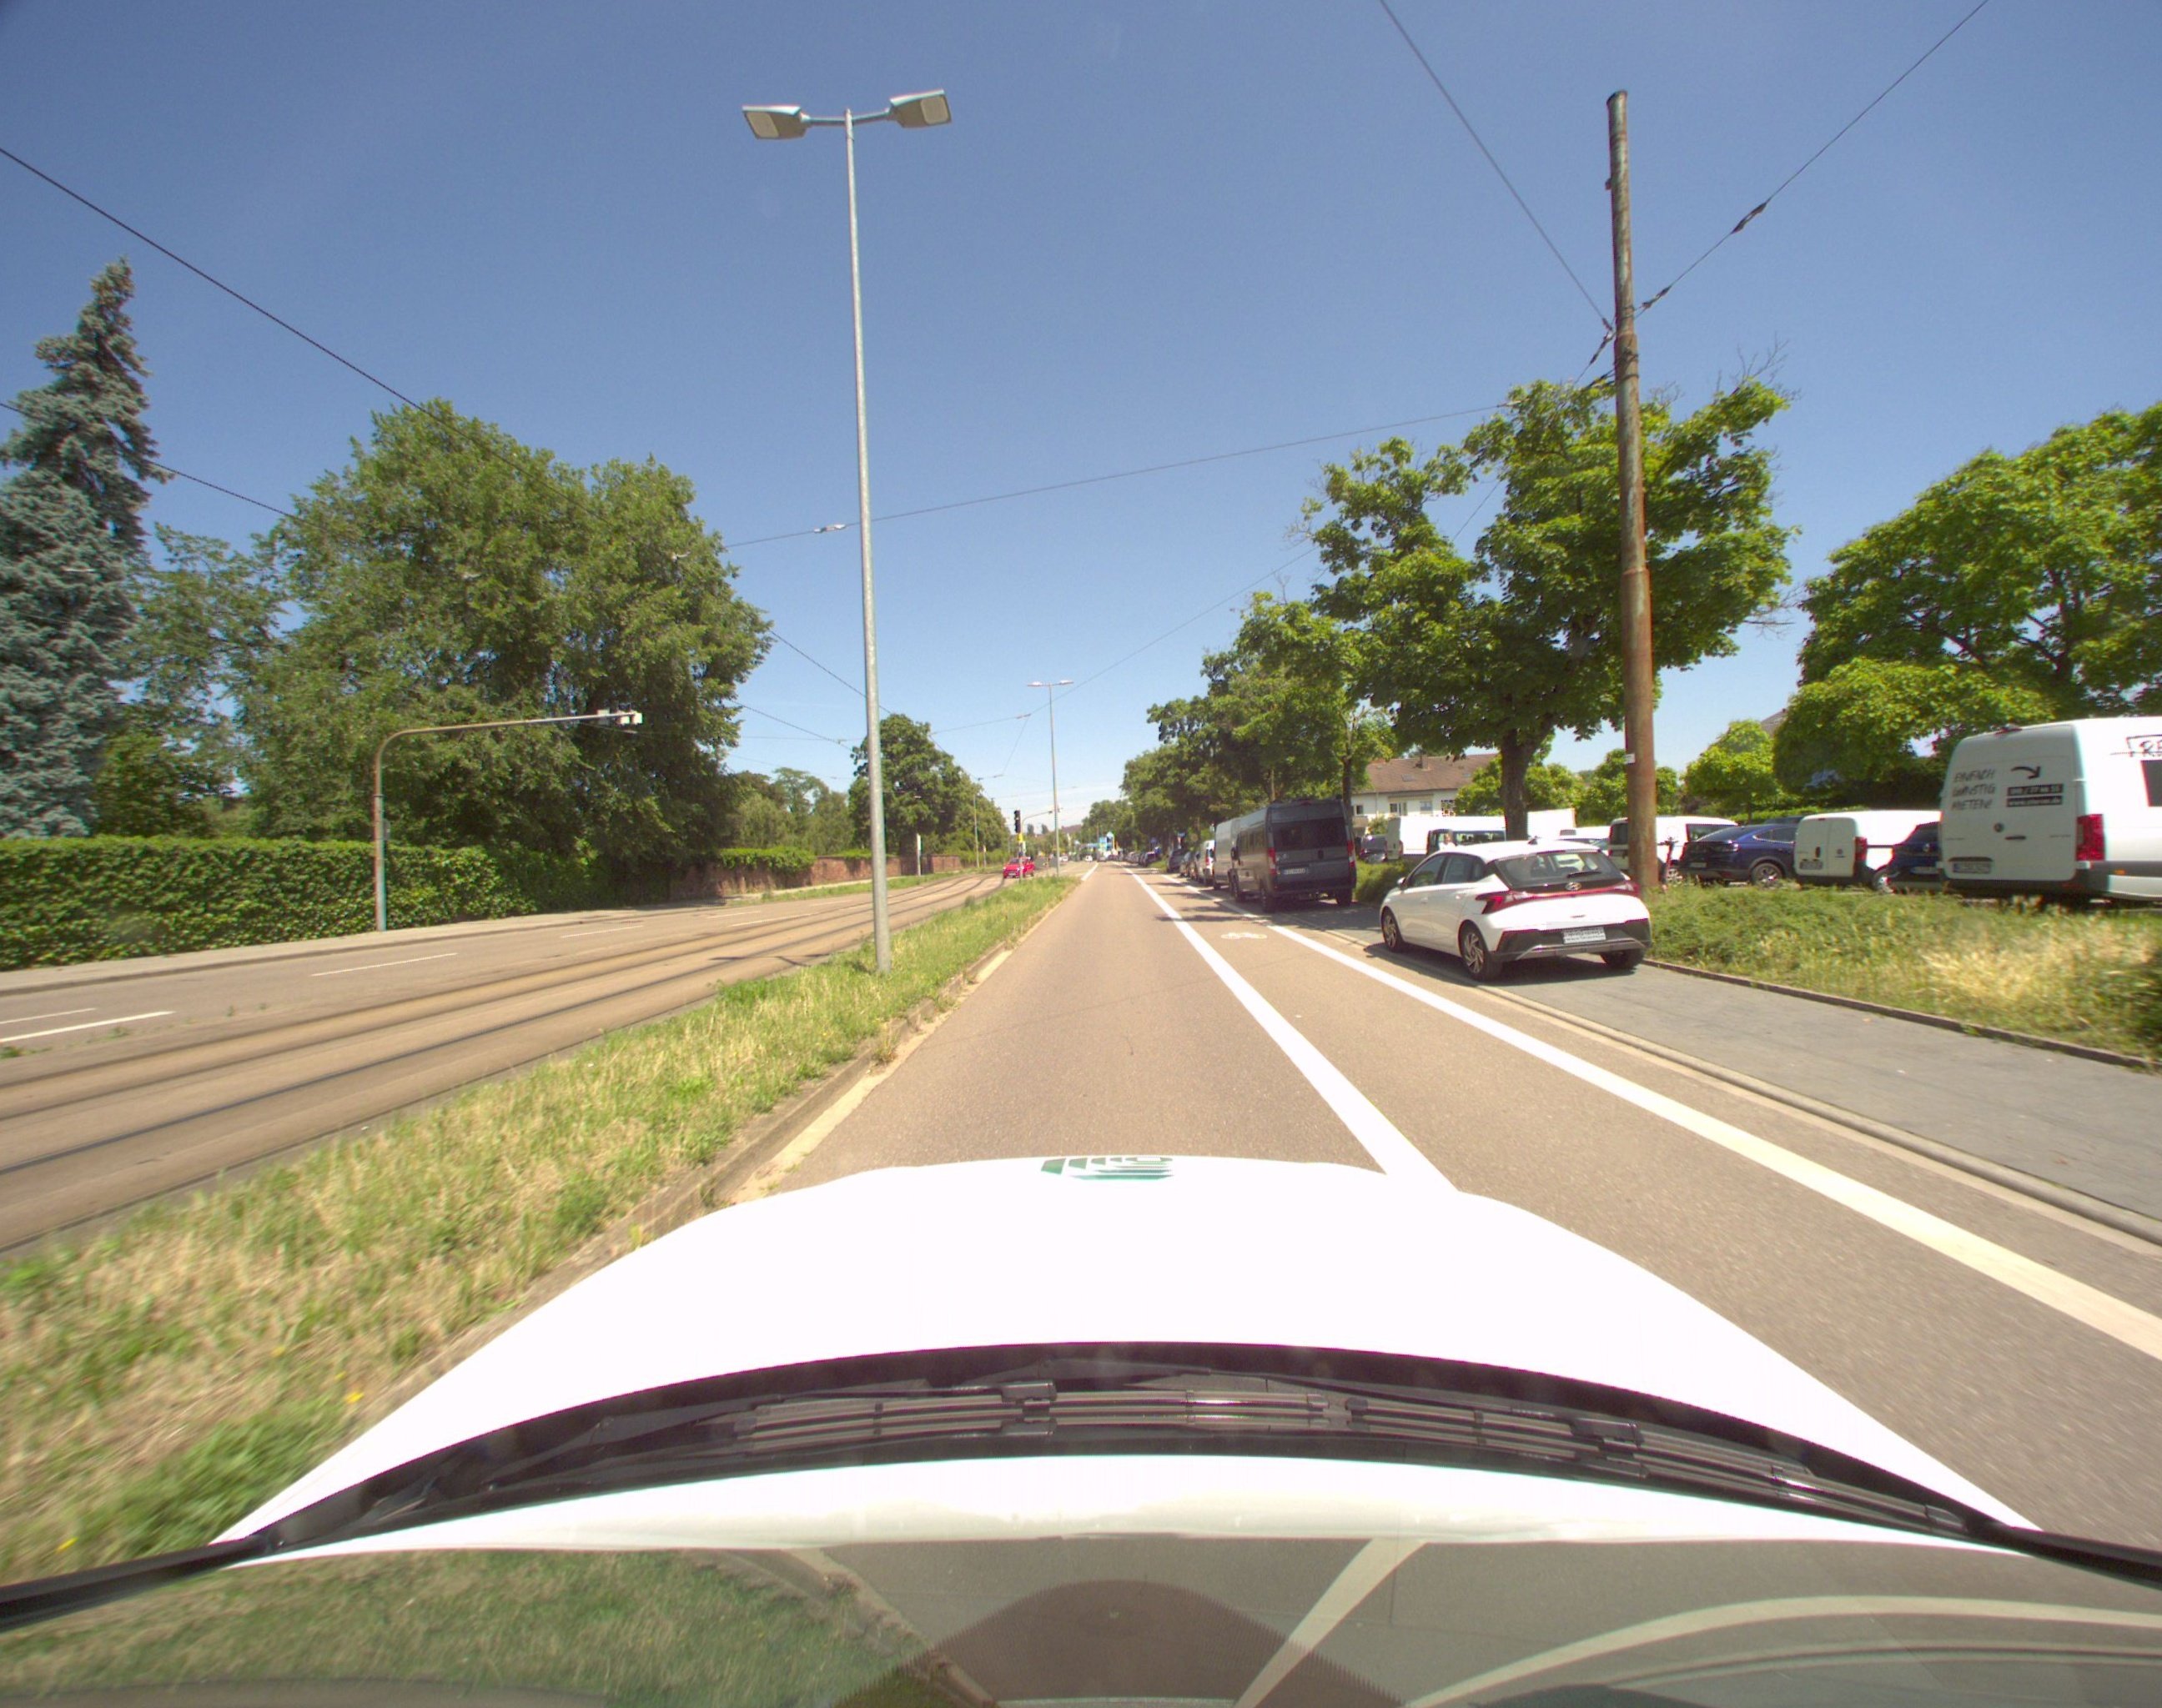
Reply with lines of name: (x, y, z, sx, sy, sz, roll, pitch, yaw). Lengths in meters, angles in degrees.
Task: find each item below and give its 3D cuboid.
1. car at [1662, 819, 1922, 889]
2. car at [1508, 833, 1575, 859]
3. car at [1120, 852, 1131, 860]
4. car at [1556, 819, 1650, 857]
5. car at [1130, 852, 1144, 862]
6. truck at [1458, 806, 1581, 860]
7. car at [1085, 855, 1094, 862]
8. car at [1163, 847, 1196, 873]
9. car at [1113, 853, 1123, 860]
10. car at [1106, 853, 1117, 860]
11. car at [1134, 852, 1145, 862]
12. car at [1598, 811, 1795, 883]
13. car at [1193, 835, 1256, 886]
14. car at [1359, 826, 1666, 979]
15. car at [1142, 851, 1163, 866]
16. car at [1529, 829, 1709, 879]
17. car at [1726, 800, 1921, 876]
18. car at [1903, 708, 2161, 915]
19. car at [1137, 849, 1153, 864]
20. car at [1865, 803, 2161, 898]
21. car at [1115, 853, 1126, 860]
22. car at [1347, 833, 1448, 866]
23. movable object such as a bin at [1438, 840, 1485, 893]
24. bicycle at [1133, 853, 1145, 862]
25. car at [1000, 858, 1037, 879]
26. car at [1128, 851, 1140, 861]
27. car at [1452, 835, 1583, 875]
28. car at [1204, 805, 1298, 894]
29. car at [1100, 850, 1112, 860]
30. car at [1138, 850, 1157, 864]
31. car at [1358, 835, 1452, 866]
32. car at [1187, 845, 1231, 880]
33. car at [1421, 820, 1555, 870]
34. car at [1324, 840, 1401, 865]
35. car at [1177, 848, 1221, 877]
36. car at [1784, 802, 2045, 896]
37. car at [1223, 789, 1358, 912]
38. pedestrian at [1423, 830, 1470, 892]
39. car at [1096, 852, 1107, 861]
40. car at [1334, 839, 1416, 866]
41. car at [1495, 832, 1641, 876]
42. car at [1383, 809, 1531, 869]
car: (16.249, -0.010, 18.777, 4.394, 1.505, 1.953, 0, 0, -2)
car: (29.763, -0.530, 52.701, 3.320, 1.428, 1.684, -4, 0, 3)
car: (9.454, 0.497, 172.079, 1.703, 1.492, 5.034, -5, 0, -2)
car: (28.886, -0.853, 45.130, 3.988, 1.807, 1.753, -4, 0, -2)
car: (9.171, 0.488, 134.047, 1.835, 1.529, 4.963, -5, 0, -1)
truck: (29.764, -1.392, 55.435, 6.923, 3.085, 2.425, -4, 0, 0)
car: (2.289, 1.063, 211.222, 1.753, 1.630, 4.315, -5, 0, -6)
car: (6.953, 0.443, 57.880, 1.706, 1.632, 4.710, -5, -1, 1)
car: (8.557, 0.576, 189.198, 1.705, 1.562, 4.314, -5, 0, -6)
car: (7.457, 0.619, 199.196, 1.754, 1.630, 4.312, -5, 0, -7)
car: (9.251, 0.467, 129.036, 1.513, 1.529, 3.818, -5, 0, 2)
car: (16.050, -0.179, 21.375, 3.770, 1.784, 1.952, 0, 0, -3)
car: (6.120, 0.259, 35.284, 1.989, 1.878, 5.281, -5, 0, 3)
car: (5.098, 0.494, 10.383, 1.715, 1.428, 4.211, -5, 0, 2)
car: (7.810, 0.495, 89.520, 1.835, 1.436, 4.823, -5, 0, 0)
car: (15.933, -0.007, 24.251, 4.264, 1.406, 1.727, 0, 0, -1)
car: (28.834, -0.608, 31.760, 5.469, 2.459, 2.096, -4, 0, 2)
car: (15.459, -0.538, 10.924, 6.312, 2.529, 2.266, 0, 0, 4)
car: (8.390, 0.314, 107.122, 1.833, 1.706, 4.630, -5, 0, 3)
car: (15.865, -0.061, 13.637, 3.875, 1.472, 1.727, 0, 0, -1)
car: (8.907, 0.540, 183.273, 1.706, 1.562, 4.312, -5, 0, -8)
car: (16.756, -0.234, 43.278, 4.674, 1.644, 1.955, 0, 0, 2)
movable object such as a bin: (9.982, 0.318, 21.415, 0.789, 1.352, 0.889, -2, 0, 1)
bicycle: (9.039, 0.536, 127.000, 1.765, 1.228, 0.685, -7, -1, 5)
car: (-4.597, 1.053, 60.908, 1.696, 1.414, 4.293, -2, 0, 10)
car: (9.742, 0.360, 149.024, 1.835, 1.794, 4.353, -5, 0, 0)
car: (15.768, 0.032, 29.507, 3.877, 1.406, 1.726, 0, 0, -3)
car: (5.789, -0.149, 28.587, 1.990, 2.636, 6.145, -5, 0, 1)
car: (6.365, 0.337, 209.338, 2.000, 2.456, 6.091, -5, 0, -8)
car: (8.310, 0.362, 101.484, 1.835, 1.529, 4.352, -5, 0, -1)
car: (16.149, -0.189, 40.748, 4.008, 1.491, 1.770, 0, 0, 0)
car: (6.409, 0.399, 41.005, 1.705, 1.540, 3.843, -5, 0, 3)
car: (16.122, -0.362, 32.397, 4.396, 1.909, 1.952, 0, 0, -3)
car: (16.773, -0.091, 48.642, 4.008, 1.491, 1.770, 0, 0, 0)
car: (6.588, 0.466, 45.984, 1.707, 1.418, 4.707, -5, 0, 0)
car: (16.298, -0.093, 16.069, 3.359, 1.717, 1.729, 0, 0, 2)
car: (5.318, -0.087, 21.656, 1.990, 2.636, 6.081, -5, 0, 1)
pedestrian: (10.008, 0.183, 22.336, 0.802, 1.625, 0.943, -2, 0, 1)
car: (4.171, 0.492, 168.101, 1.752, 1.630, 4.319, -5, 0, -3)
car: (16.605, -0.074, 46.121, 4.008, 1.491, 1.770, 0, 0, 0)
car: (16.144, 0.004, 27.107, 3.875, 1.406, 1.727, 0, 0, -1)
car: (16.212, -0.632, 35.336, 5.468, 2.459, 2.096, 0, 0, 2)
